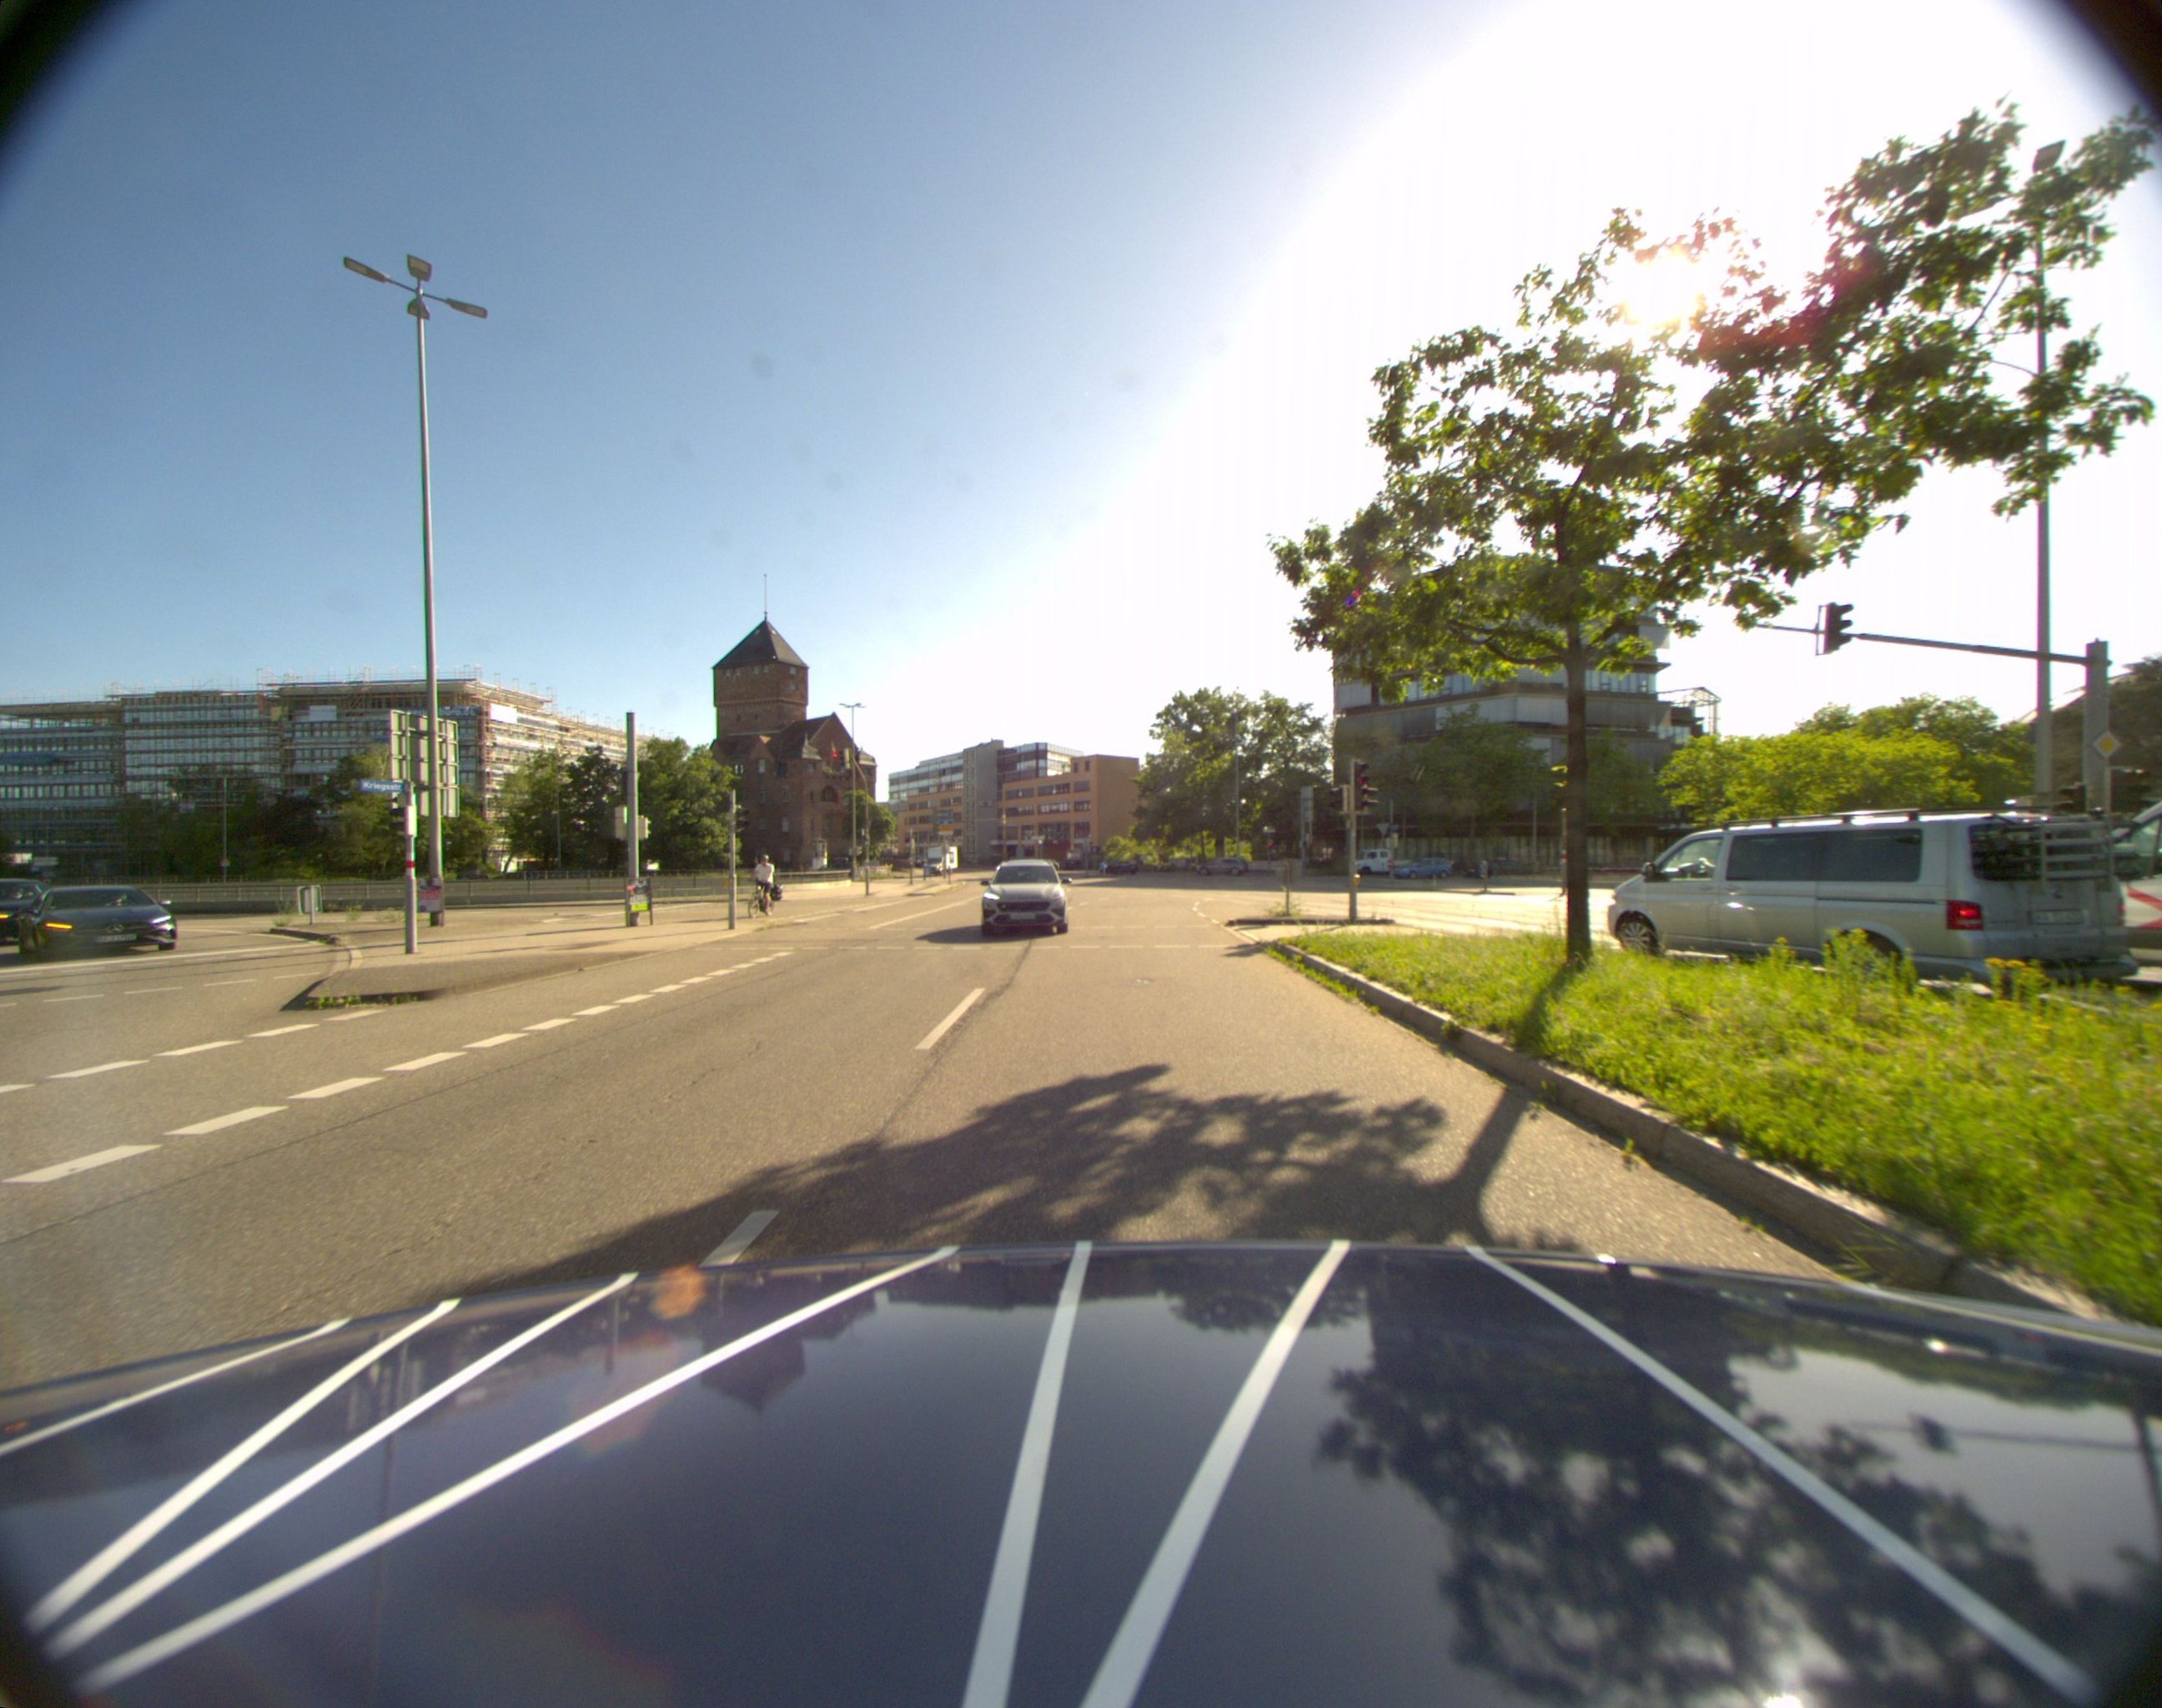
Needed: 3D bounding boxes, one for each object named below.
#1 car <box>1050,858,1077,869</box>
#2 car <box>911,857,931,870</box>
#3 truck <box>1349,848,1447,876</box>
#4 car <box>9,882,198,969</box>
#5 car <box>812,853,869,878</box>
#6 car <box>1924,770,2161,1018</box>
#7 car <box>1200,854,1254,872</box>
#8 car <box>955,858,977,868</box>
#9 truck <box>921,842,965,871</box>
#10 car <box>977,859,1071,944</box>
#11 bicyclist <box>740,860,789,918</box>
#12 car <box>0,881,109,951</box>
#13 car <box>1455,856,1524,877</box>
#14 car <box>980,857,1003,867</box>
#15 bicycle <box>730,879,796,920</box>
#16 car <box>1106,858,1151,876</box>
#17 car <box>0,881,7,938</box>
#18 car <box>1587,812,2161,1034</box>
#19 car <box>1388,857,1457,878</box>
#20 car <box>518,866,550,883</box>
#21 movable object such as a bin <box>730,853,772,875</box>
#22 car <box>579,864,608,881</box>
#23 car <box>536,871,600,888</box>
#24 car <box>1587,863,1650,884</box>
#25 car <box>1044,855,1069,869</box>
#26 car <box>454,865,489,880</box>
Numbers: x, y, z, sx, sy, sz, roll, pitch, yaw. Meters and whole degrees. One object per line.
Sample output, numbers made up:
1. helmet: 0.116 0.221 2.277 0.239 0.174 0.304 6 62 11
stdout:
1. car: -2.446 1.332 105.760 1.663 1.499 4.368 2 -2 -33
2. car: -23.735 1.387 112.523 1.760 1.749 4.774 -1 0 -27
3. truck: 27.366 0.676 65.784 7.507 2.346 2.164 -1 0 3
4. car: -21.019 1.433 16.312 4.233 1.543 1.865 -1 0 29
5. car: -22.772 1.033 72.062 4.794 2.248 1.946 -1 1 -35
6. car: 12.205 0.406 6.947 1.942 2.561 6.085 -1 0 -5
7. car: 13.147 0.800 68.210 4.499 1.635 1.883 -1 0 19
8. car: -19.282 1.493 127.637 1.884 1.514 4.149 -1 0 -38
9. truck: -15.602 0.261 86.542 2.500 3.110 6.965 -1 0 12
10. car: -1.186 0.968 17.341 1.879 1.612 4.195 0 1 -1
11. bicyclist: -9.376 1.027 22.555 0.725 1.650 1.114 -1 1 21
12. car: -27.728 1.533 19.532 4.668 1.607 1.863 -1 0 18
13. car: 31.628 0.981 58.826 4.458 1.532 1.950 -1 0 -9
14. car: -14.370 1.301 121.933 1.642 1.514 4.149 -1 0 -40
15. bicycle: -9.391 1.321 22.534 0.692 1.095 1.829 -1 1 21
16. car: 4.665 1.273 75.001 4.184 1.690 1.819 0 1 44
17. car: -33.305 1.603 21.427 4.669 1.607 1.863 -1 0 14
18. car: 9.025 0.622 9.404 1.942 1.996 4.929 -1 0 -5
19. car: 25.940 0.992 57.799 4.458 1.532 1.950 -1 0 -9
20. car: -54.849 2.058 76.286 2.003 1.552 3.773 -1 0 -26
21. movable object such as a bin: -37.174 1.110 85.660 3.991 2.395 2.003 -1 1 19
22. car: -48.100 1.835 74.993 2.003 1.552 3.773 -1 0 -26
23. car: -46.254 2.296 68.561 4.630 1.462 1.881 0 1 6
24. car: 46.443 1.707 65.741 4.193 1.690 1.815 -1 0 0
25. car: -2.824 0.922 86.554 1.881 1.349 4.506 1 -4 -14
26. car: -62.330 1.866 77.772 2.003 1.445 3.773 -1 0 -26
